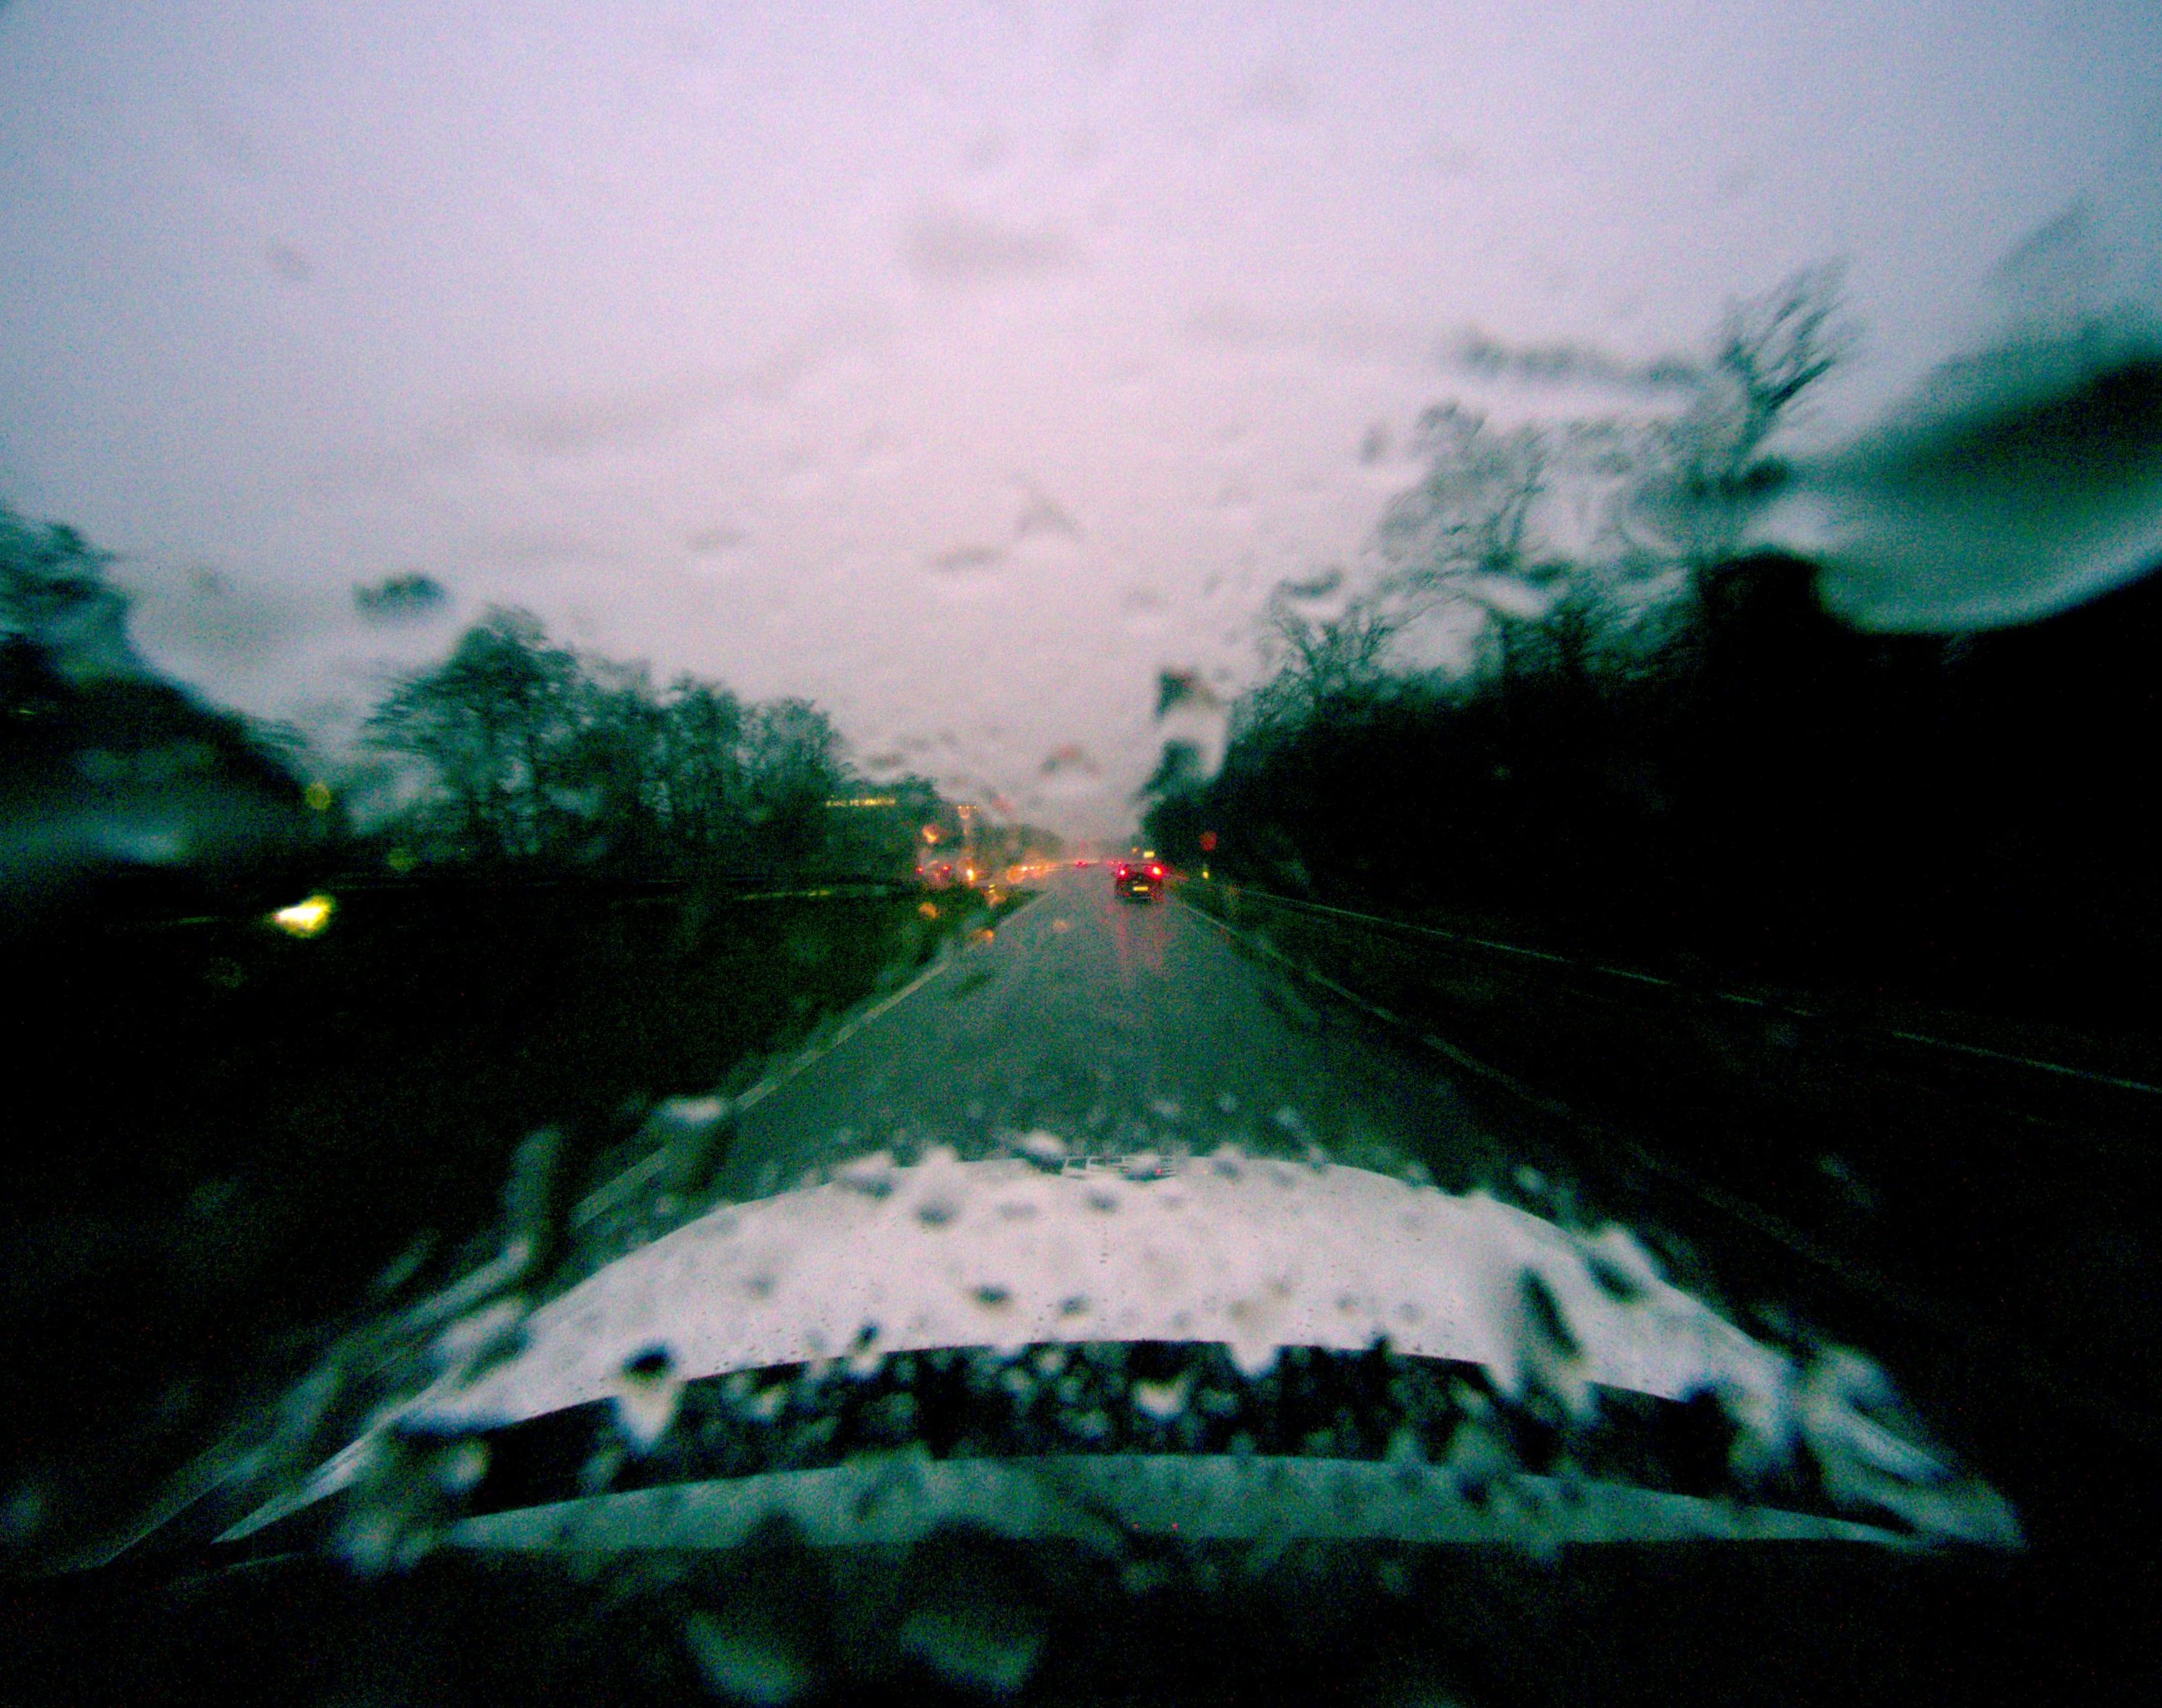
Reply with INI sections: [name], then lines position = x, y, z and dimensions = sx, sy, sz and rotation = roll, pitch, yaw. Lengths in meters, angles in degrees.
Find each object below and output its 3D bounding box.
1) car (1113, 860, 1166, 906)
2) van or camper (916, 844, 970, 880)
[car]
position = 2.158, 1.038, 30.355
dimensions = 1.725, 1.429, 3.768
rotation = 5, 0, 3
[van or camper]
position = -9.780, 0.592, 58.112
dimensions = 2.256, 2.413, 5.589
rotation = -1, -1, 6
